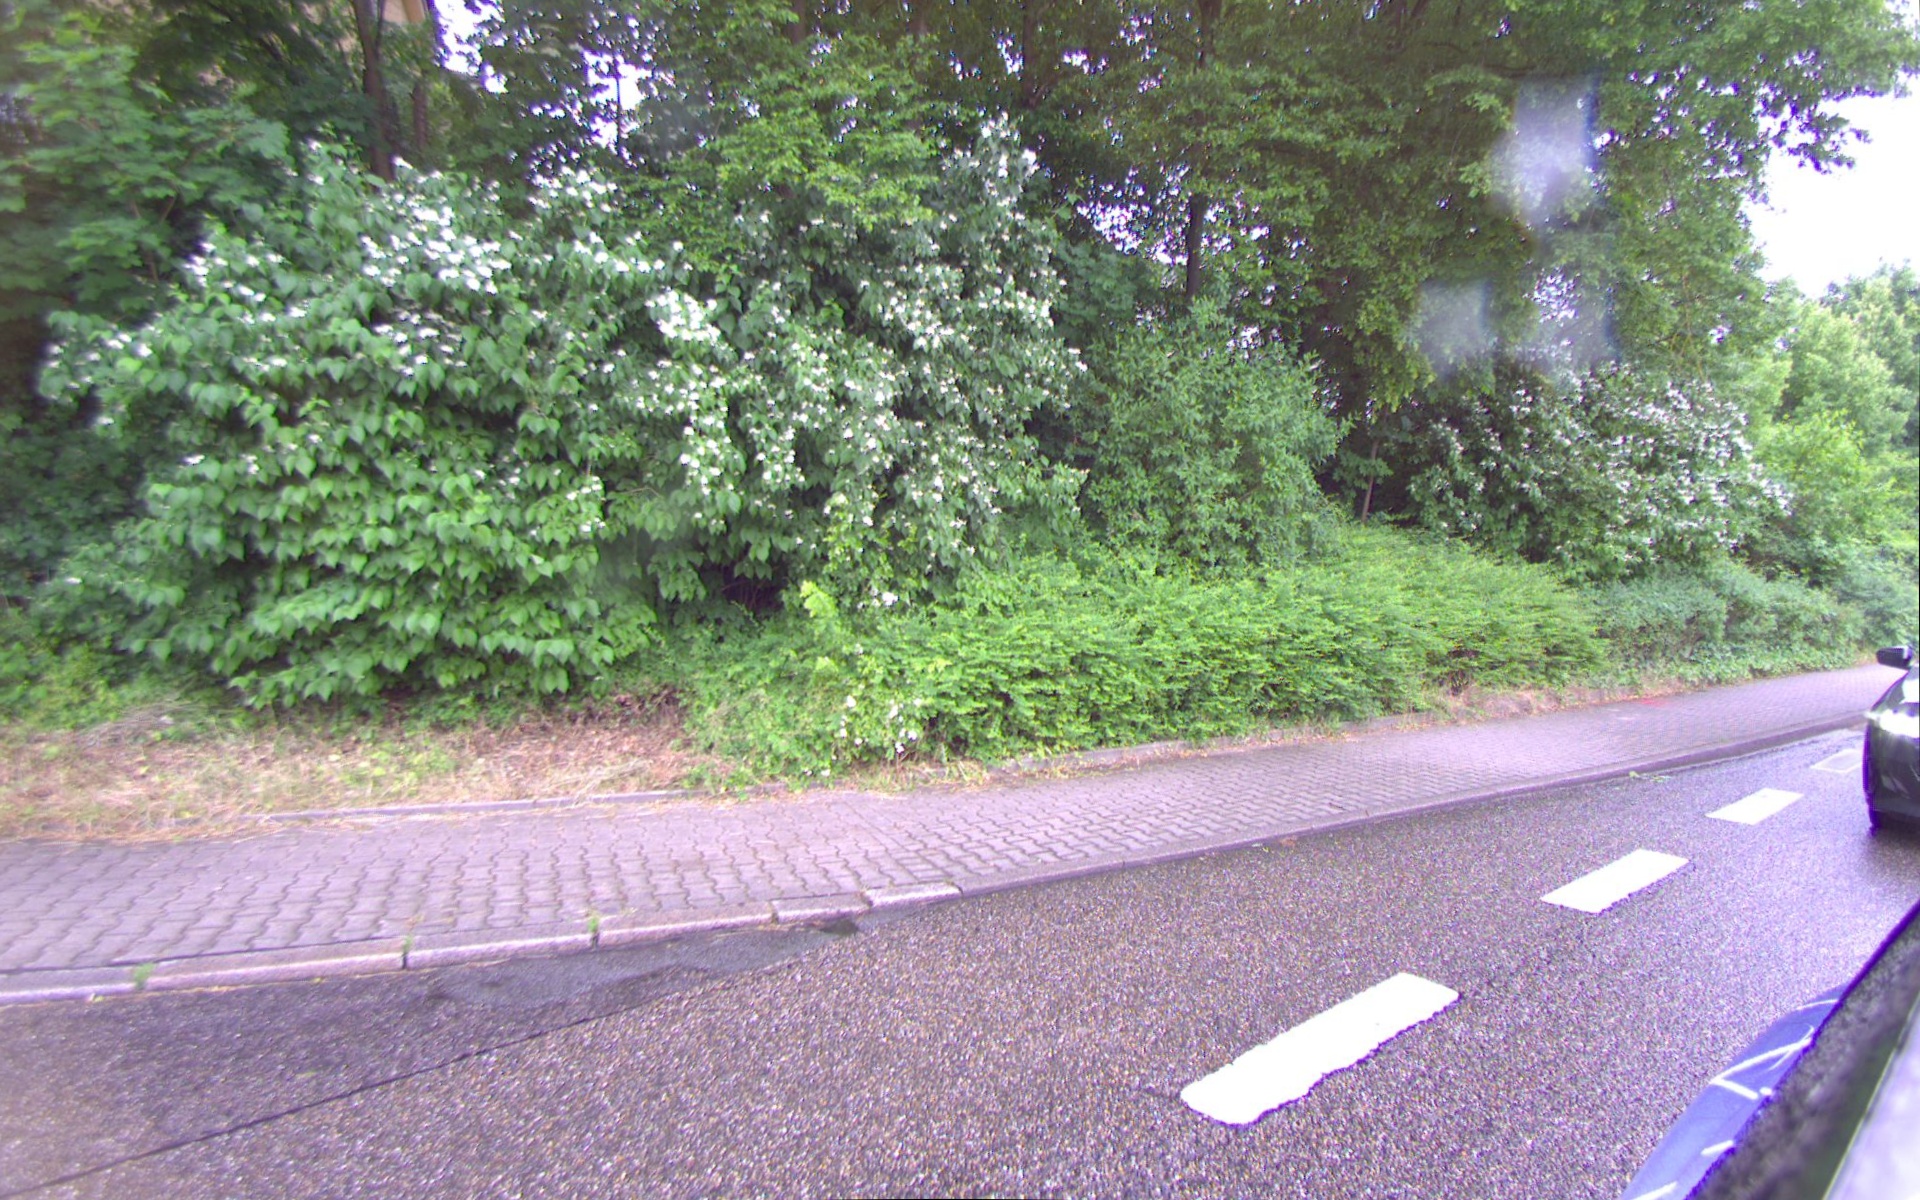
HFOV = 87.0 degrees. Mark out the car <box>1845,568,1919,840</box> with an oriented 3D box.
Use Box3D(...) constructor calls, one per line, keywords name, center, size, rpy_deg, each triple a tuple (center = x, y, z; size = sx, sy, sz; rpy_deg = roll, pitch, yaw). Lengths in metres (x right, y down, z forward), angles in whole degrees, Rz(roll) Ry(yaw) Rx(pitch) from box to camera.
Box3D(name="car", center=(7.416, 0.605, 6.526), size=(4.122, 1.524, 1.873), rpy_deg=(-1, 4, -39))
